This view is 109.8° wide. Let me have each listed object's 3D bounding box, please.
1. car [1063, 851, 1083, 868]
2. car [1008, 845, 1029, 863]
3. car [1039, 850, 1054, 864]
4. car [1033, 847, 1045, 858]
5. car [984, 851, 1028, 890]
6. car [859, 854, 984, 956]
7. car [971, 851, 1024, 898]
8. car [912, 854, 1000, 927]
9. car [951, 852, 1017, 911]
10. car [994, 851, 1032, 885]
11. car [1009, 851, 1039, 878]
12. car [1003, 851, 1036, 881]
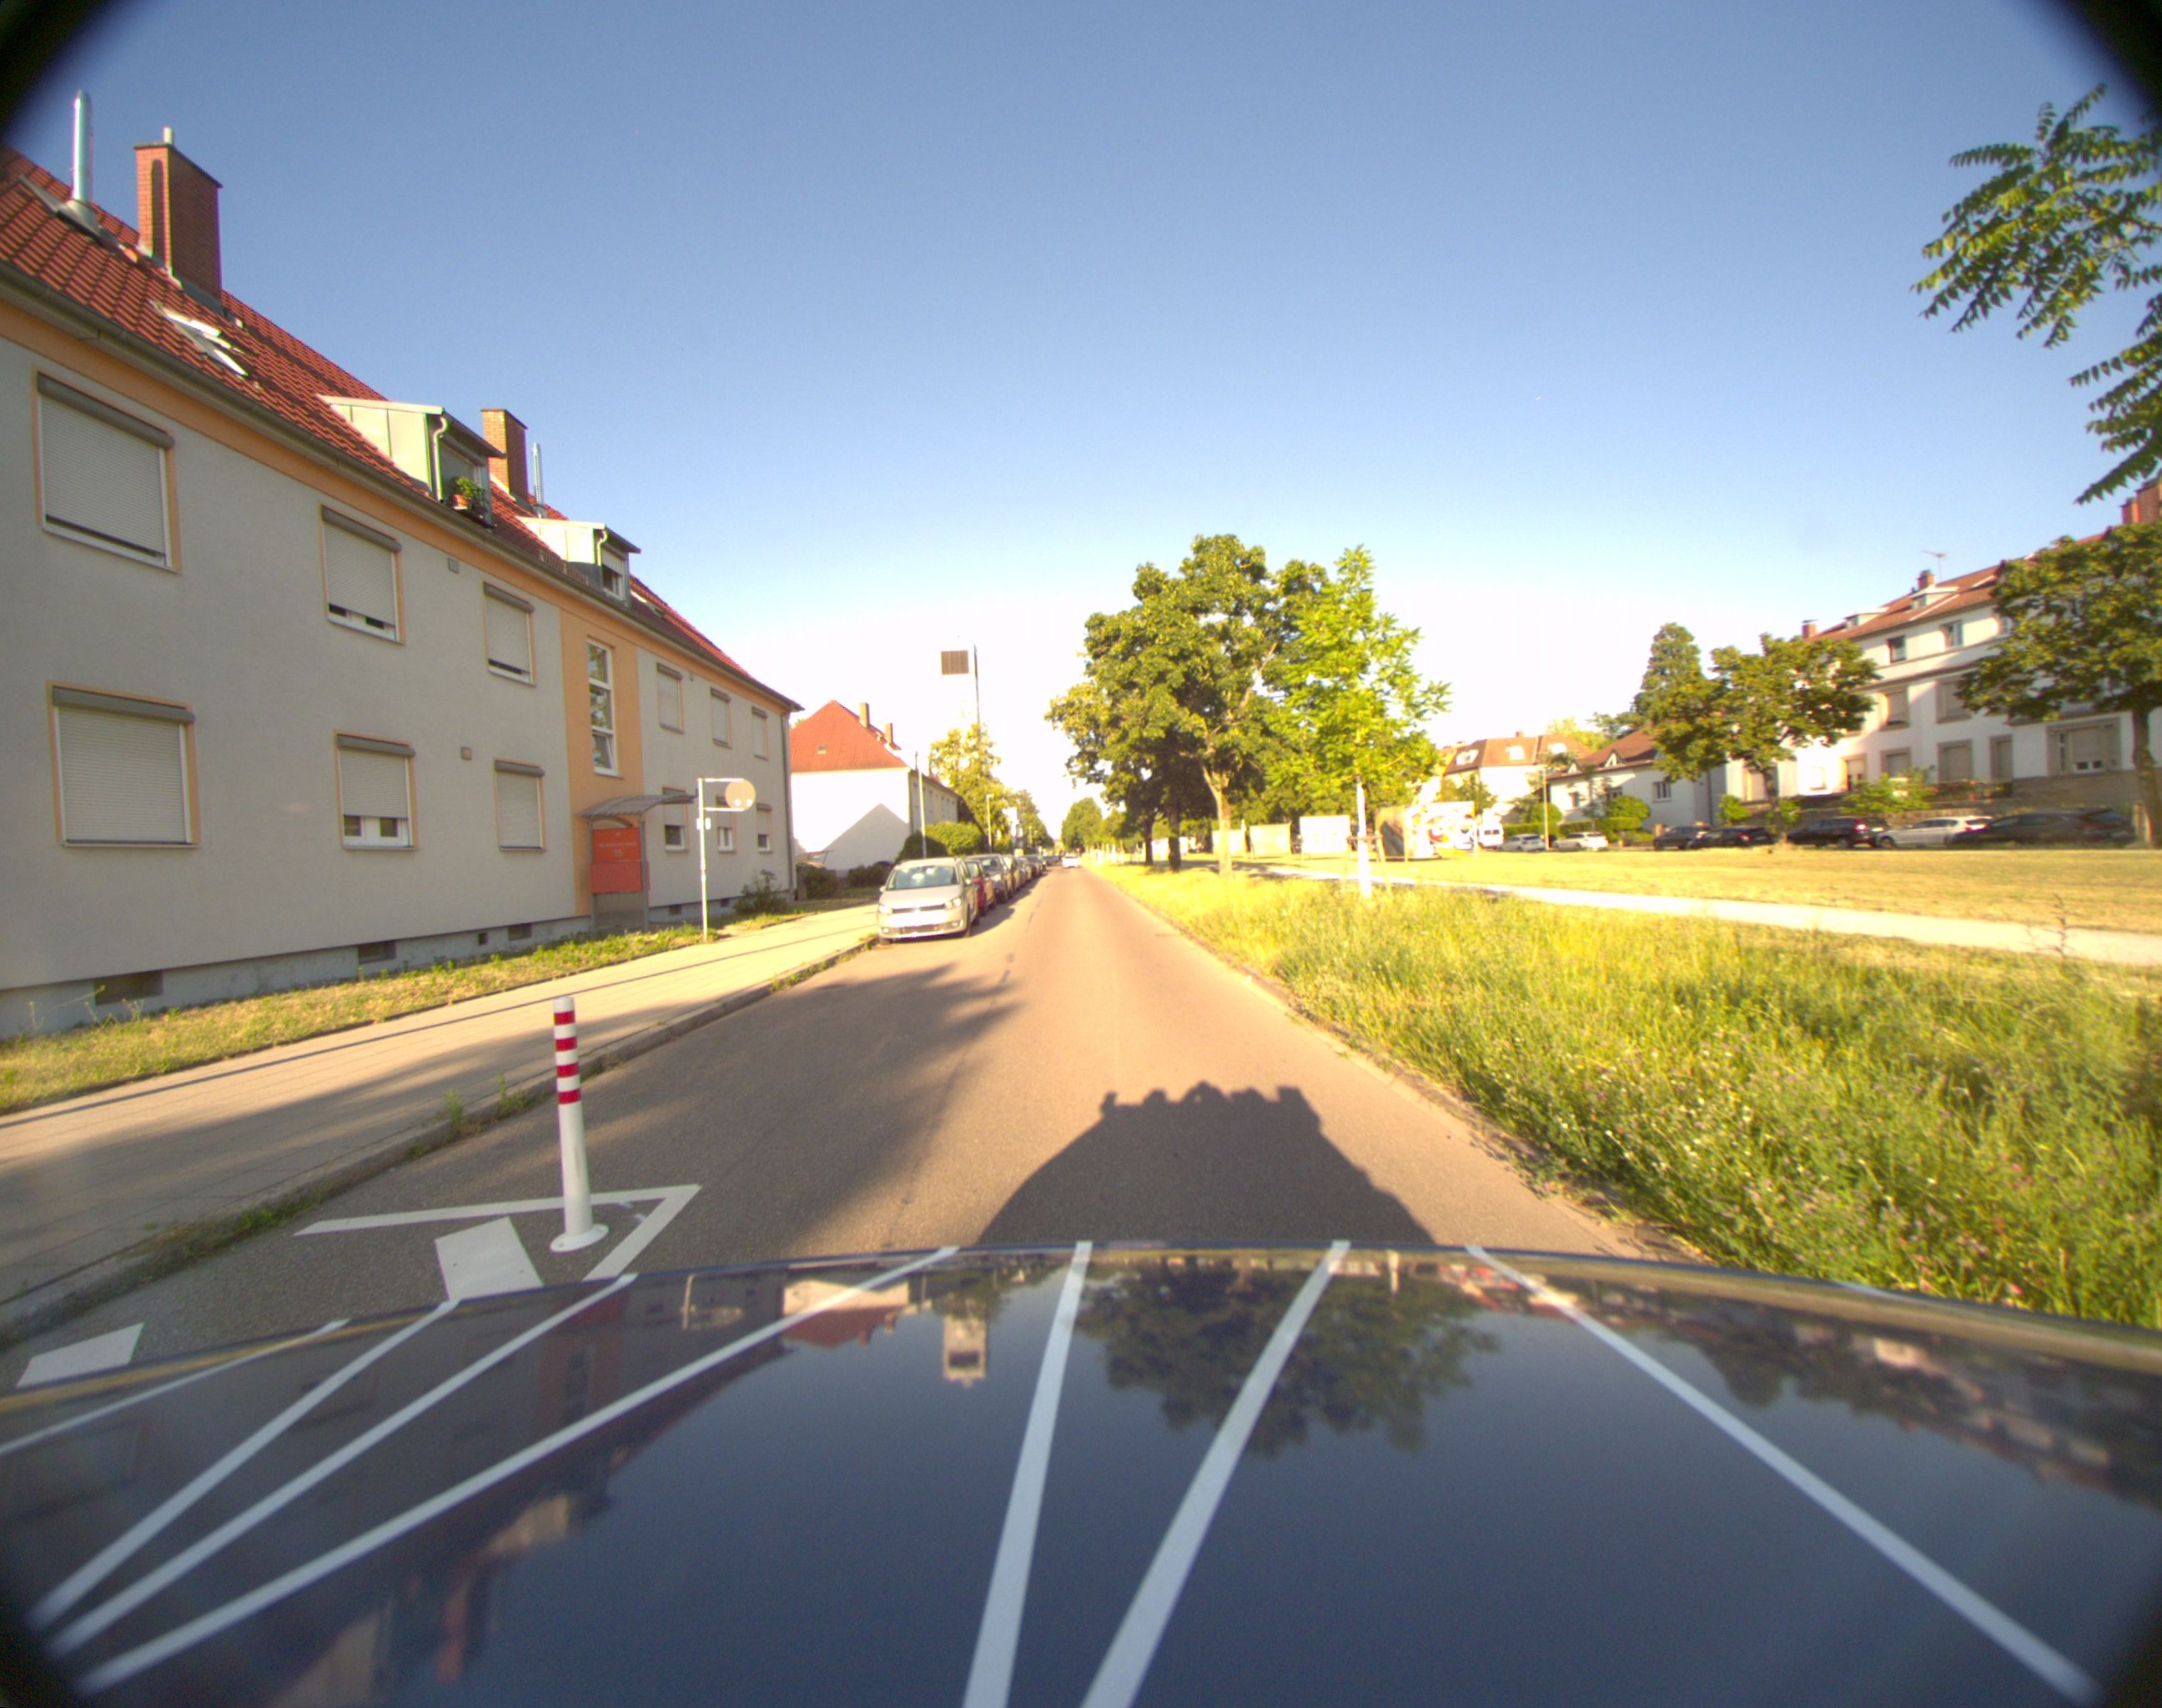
[{"bbox_3d":[-0.938,0.537,83.874,1.870,1.686,4.299,-5,1,-3],"label":"car"},{"bbox_3d":[-6.461,0.013,78.878,1.850,1.686,3.998,-5,1,-3],"label":"car"},{"bbox_3d":[-4.478,0.341,98.618,1.850,1.686,3.998,-5,1,-3],"label":"car"},{"bbox_3d":[-6.865,-0.272,124.732,1.850,1.686,3.998,-5,1,-3],"label":"car"},{"bbox_3d":[-3.630,0.750,37.618,1.850,1.686,3.998,-5,1,-3],"label":"car"},{"bbox_3d":[-3.178,0.939,15.978,1.850,1.686,3.998,-5,1,-3],"label":"car"},{"bbox_3d":[-3.428,0.788,31.917,1.850,1.686,3.998,-5,1,-3],"label":"car"},{"bbox_3d":[-3.372,0.920,21.241,1.850,1.686,3.998,-5,1,-3],"label":"car"},{"bbox_3d":[-3.261,0.871,26.250,1.850,1.686,3.998,-5,1,-3],"label":"car"},{"bbox_3d":[-3.813,0.733,43.111,1.850,1.686,3.998,-5,1,-3],"label":"car"},{"bbox_3d":[-3.922,0.713,53.099,1.850,1.686,3.998,-5,1,-3],"label":"car"},{"bbox_3d":[-3.881,0.749,48.617,1.850,1.686,3.998,-5,1,-3],"label":"car"}]
